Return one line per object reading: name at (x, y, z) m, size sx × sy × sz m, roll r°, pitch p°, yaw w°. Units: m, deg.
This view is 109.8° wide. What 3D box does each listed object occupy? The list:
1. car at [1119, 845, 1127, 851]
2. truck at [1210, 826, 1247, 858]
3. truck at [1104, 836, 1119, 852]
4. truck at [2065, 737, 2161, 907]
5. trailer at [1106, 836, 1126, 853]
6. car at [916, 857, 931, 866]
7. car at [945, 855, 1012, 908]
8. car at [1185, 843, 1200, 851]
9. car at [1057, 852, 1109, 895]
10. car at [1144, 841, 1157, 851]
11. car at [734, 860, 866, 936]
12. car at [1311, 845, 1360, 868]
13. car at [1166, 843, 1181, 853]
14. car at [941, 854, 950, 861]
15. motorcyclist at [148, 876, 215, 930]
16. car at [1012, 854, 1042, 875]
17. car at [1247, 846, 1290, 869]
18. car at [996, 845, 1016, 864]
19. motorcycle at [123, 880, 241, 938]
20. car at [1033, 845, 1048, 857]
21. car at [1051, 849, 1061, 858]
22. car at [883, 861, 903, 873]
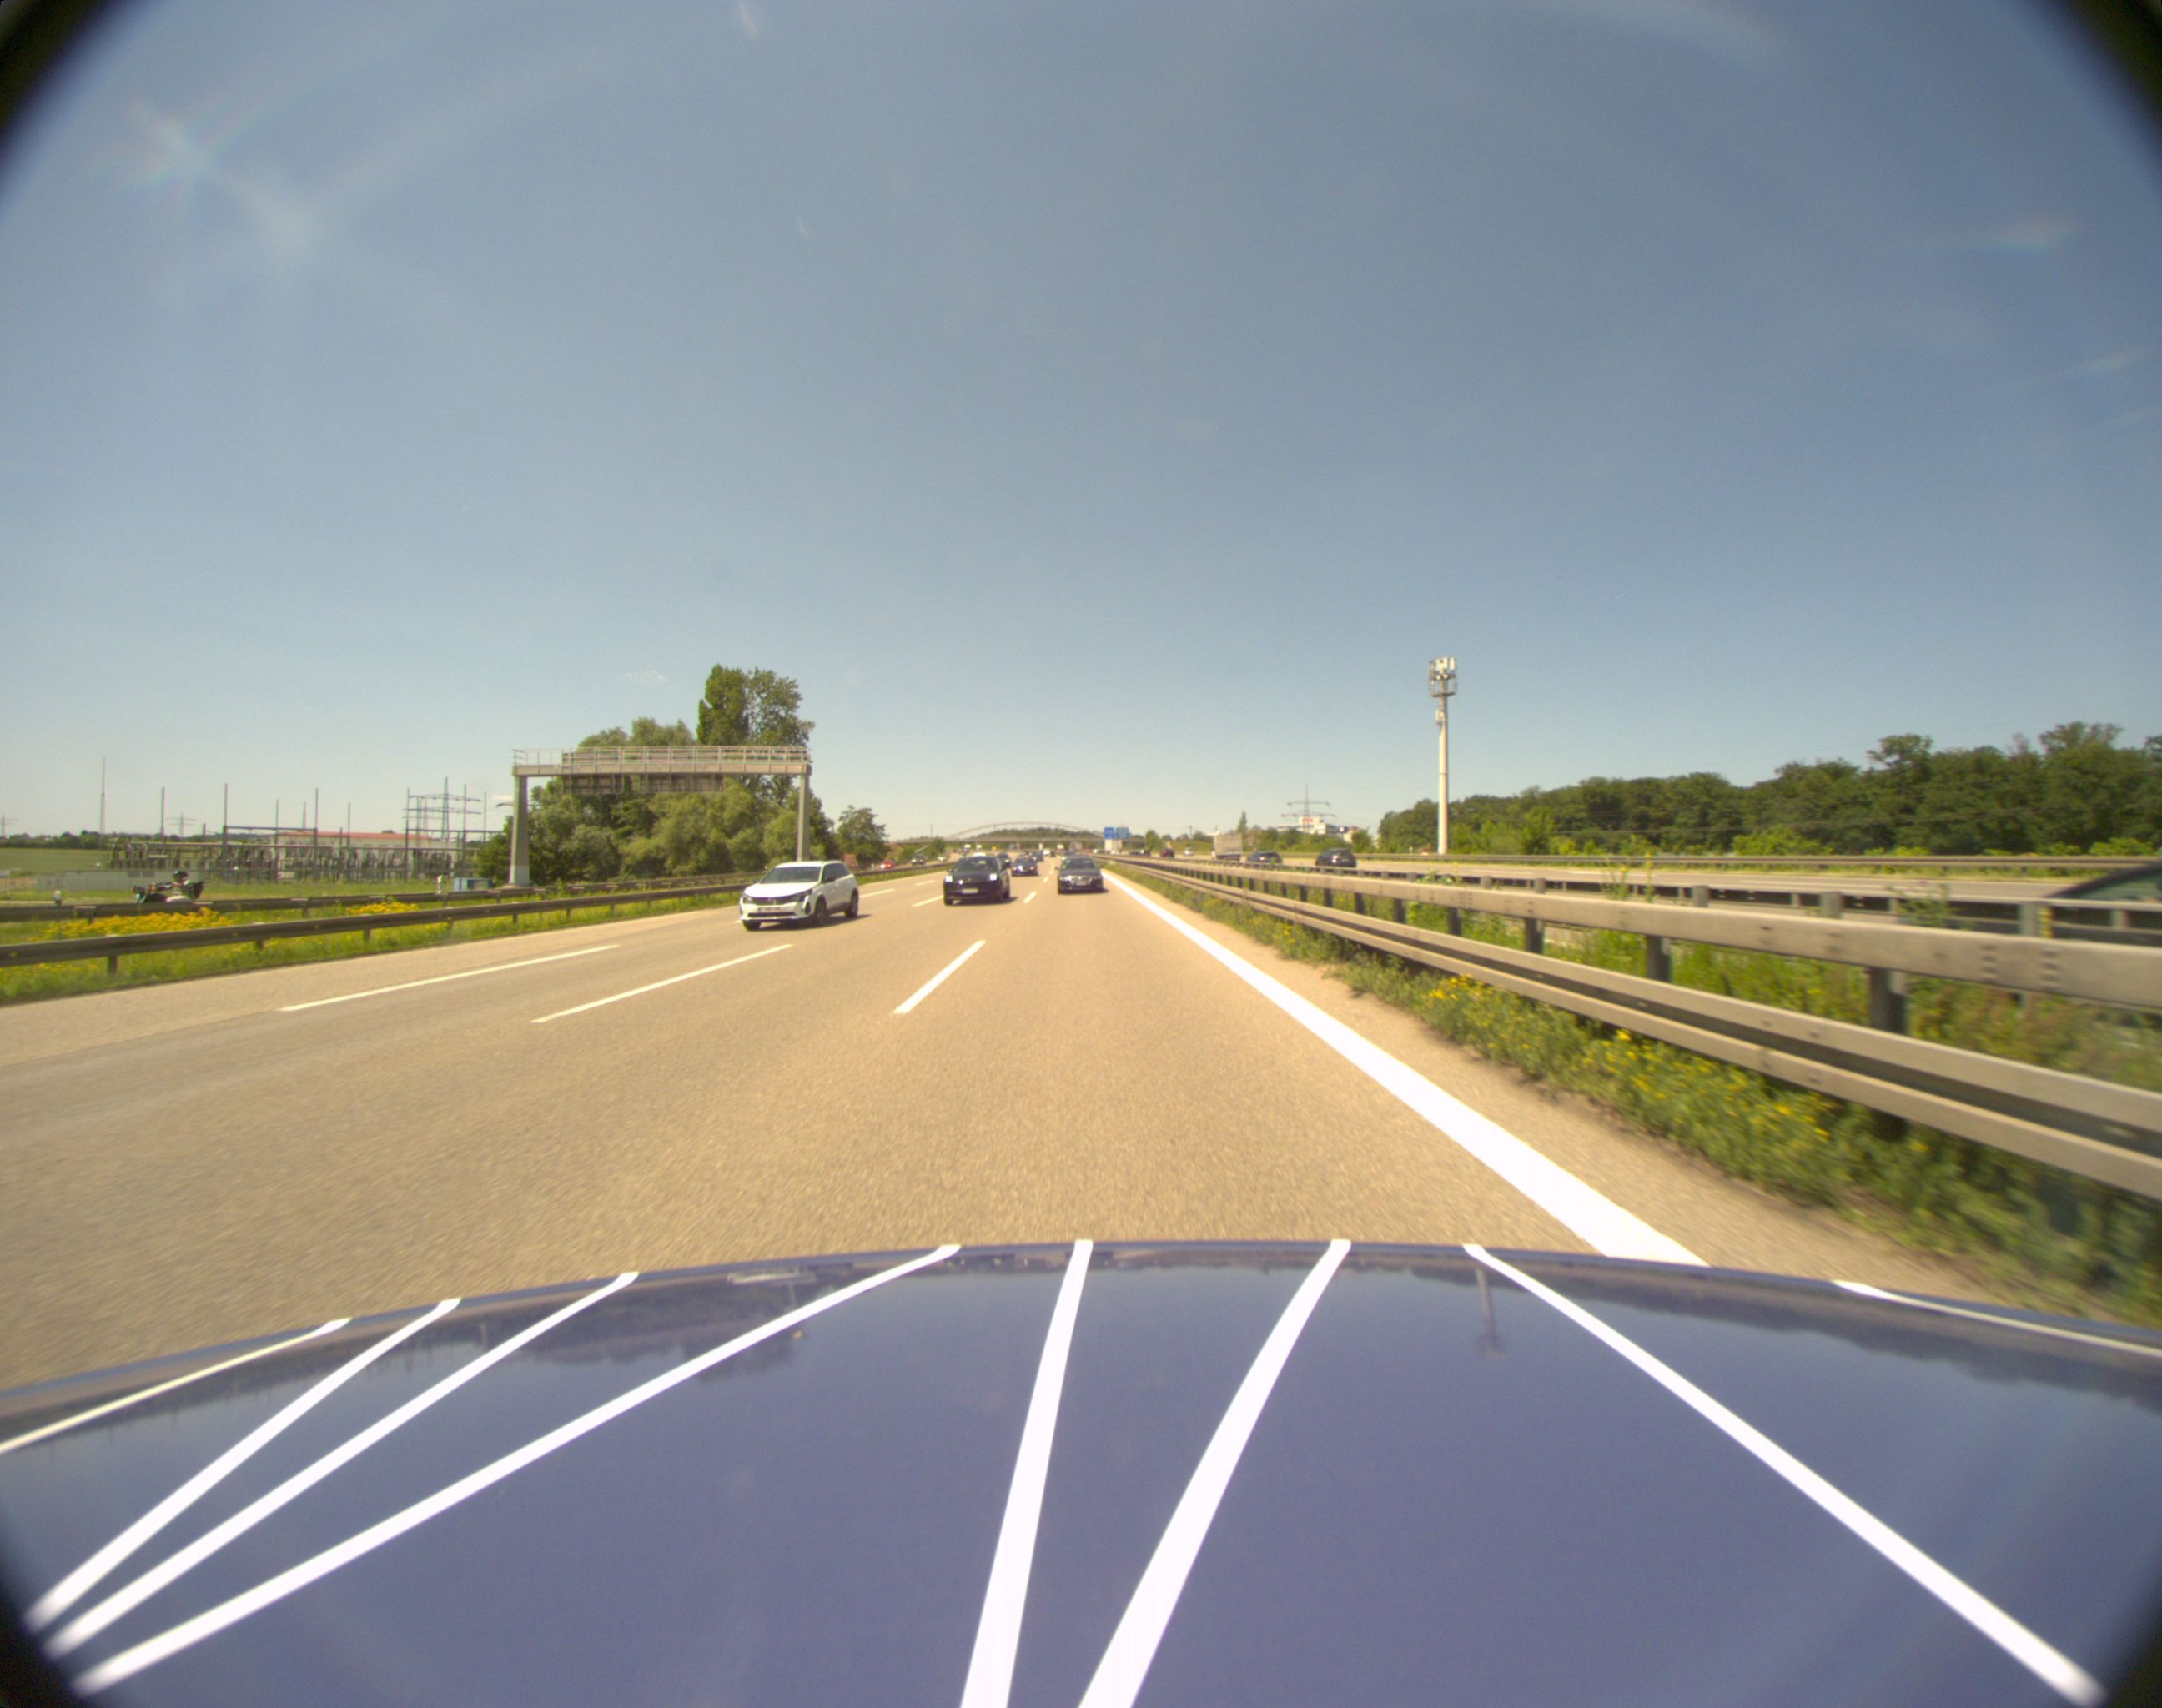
car at (9.321, -1.336, 169.026) m, size 1.661 × 1.395 × 4.758 m, roll -2°, pitch 1°, yaw 0°
truck at (16.181, -1.347, 83.931) m, size 2.382 × 3.259 × 7.658 m, roll -2°, pitch 1°, yaw -2°
truck at (8.331, -2.702, 209.870) m, size 3.044 × 4.216 × 6.680 m, roll -2°, pitch 1°, yaw -6°
truck at (21.137, -0.601, 11.394) m, size 2.326 × 3.149 × 8.112 m, roll -2°, pitch 0°, yaw 1°
trailer at (9.244, -2.512, 202.291) m, size 3.044 × 4.216 × 12.239 m, roll -2°, pitch 1°, yaw -7°
car at (-28.441, 1.358, 137.349) m, size 1.704 × 1.566 × 4.127 m, roll -2°, pitch 1°, yaw 1°
car at (-3.494, 0.886, 26.553) m, size 1.932 × 1.586 × 4.130 m, roll -2°, pitch 1°, yaw -3°
car at (21.323, -1.396, 146.004) m, size 2.110 × 1.523 × 4.370 m, roll -2°, pitch 1°, yaw -2°
car at (0.002, 0.747, 31.118) m, size 1.932 × 1.499 × 4.389 m, roll -2°, pitch 1°, yaw -2°
car at (11.221, -1.323, 123.226) m, size 1.679 × 1.616 × 4.084 m, roll -2°, pitch 1°, yaw -1°
car at (-7.146, 1.033, 19.874) m, size 1.748 × 1.582 × 4.618 m, roll -2°, pitch 1°, yaw -1°
car at (16.968, 0.163, 50.906) m, size 1.910 × 1.412 × 4.000 m, roll -2°, pitch 0°, yaw 0°
car at (15.365, -1.011, 126.704) m, size 1.852 × 1.646 × 4.909 m, roll -2°, pitch 1°, yaw 0°
car at (-31.890, 0.829, 179.286) m, size 1.705 × 1.566 × 4.125 m, roll -2°, pitch 1°, yaw -6°
motorcyclist at (-24.116, 1.290, 20.382) m, size 0.670 × 1.359 × 0.879 m, roll -2°, pitch 2°, yaw 7°
car at (-3.921, 0.748, 55.781) m, size 1.932 × 1.390 × 4.116 m, roll -2°, pitch 1°, yaw -1°
car at (12.990, 0.217, 52.957) m, size 1.794 × 1.455 × 4.859 m, roll -2°, pitch 0°, yaw 0°
car at (-8.517, 0.034, 86.249) m, size 1.808 × 1.908 × 4.293 m, roll -2°, pitch 1°, yaw -1°
motorcycle at (-24.105, 1.442, 20.436) m, size 0.761 × 1.359 × 1.870 m, roll -2°, pitch 1°, yaw 8°
car at (-6.700, -0.468, 124.912) m, size 1.924 × 1.762 × 4.000 m, roll -2°, pitch 1°, yaw 4°
car at (-5.746, -0.092, 176.801) m, size 2.000 × 1.849 × 3.997 m, roll -2°, pitch 1°, yaw -6°
car at (-26.549, 1.795, 107.551) m, size 1.704 × 1.566 × 4.127 m, roll -2°, pitch 1°, yaw 1°
